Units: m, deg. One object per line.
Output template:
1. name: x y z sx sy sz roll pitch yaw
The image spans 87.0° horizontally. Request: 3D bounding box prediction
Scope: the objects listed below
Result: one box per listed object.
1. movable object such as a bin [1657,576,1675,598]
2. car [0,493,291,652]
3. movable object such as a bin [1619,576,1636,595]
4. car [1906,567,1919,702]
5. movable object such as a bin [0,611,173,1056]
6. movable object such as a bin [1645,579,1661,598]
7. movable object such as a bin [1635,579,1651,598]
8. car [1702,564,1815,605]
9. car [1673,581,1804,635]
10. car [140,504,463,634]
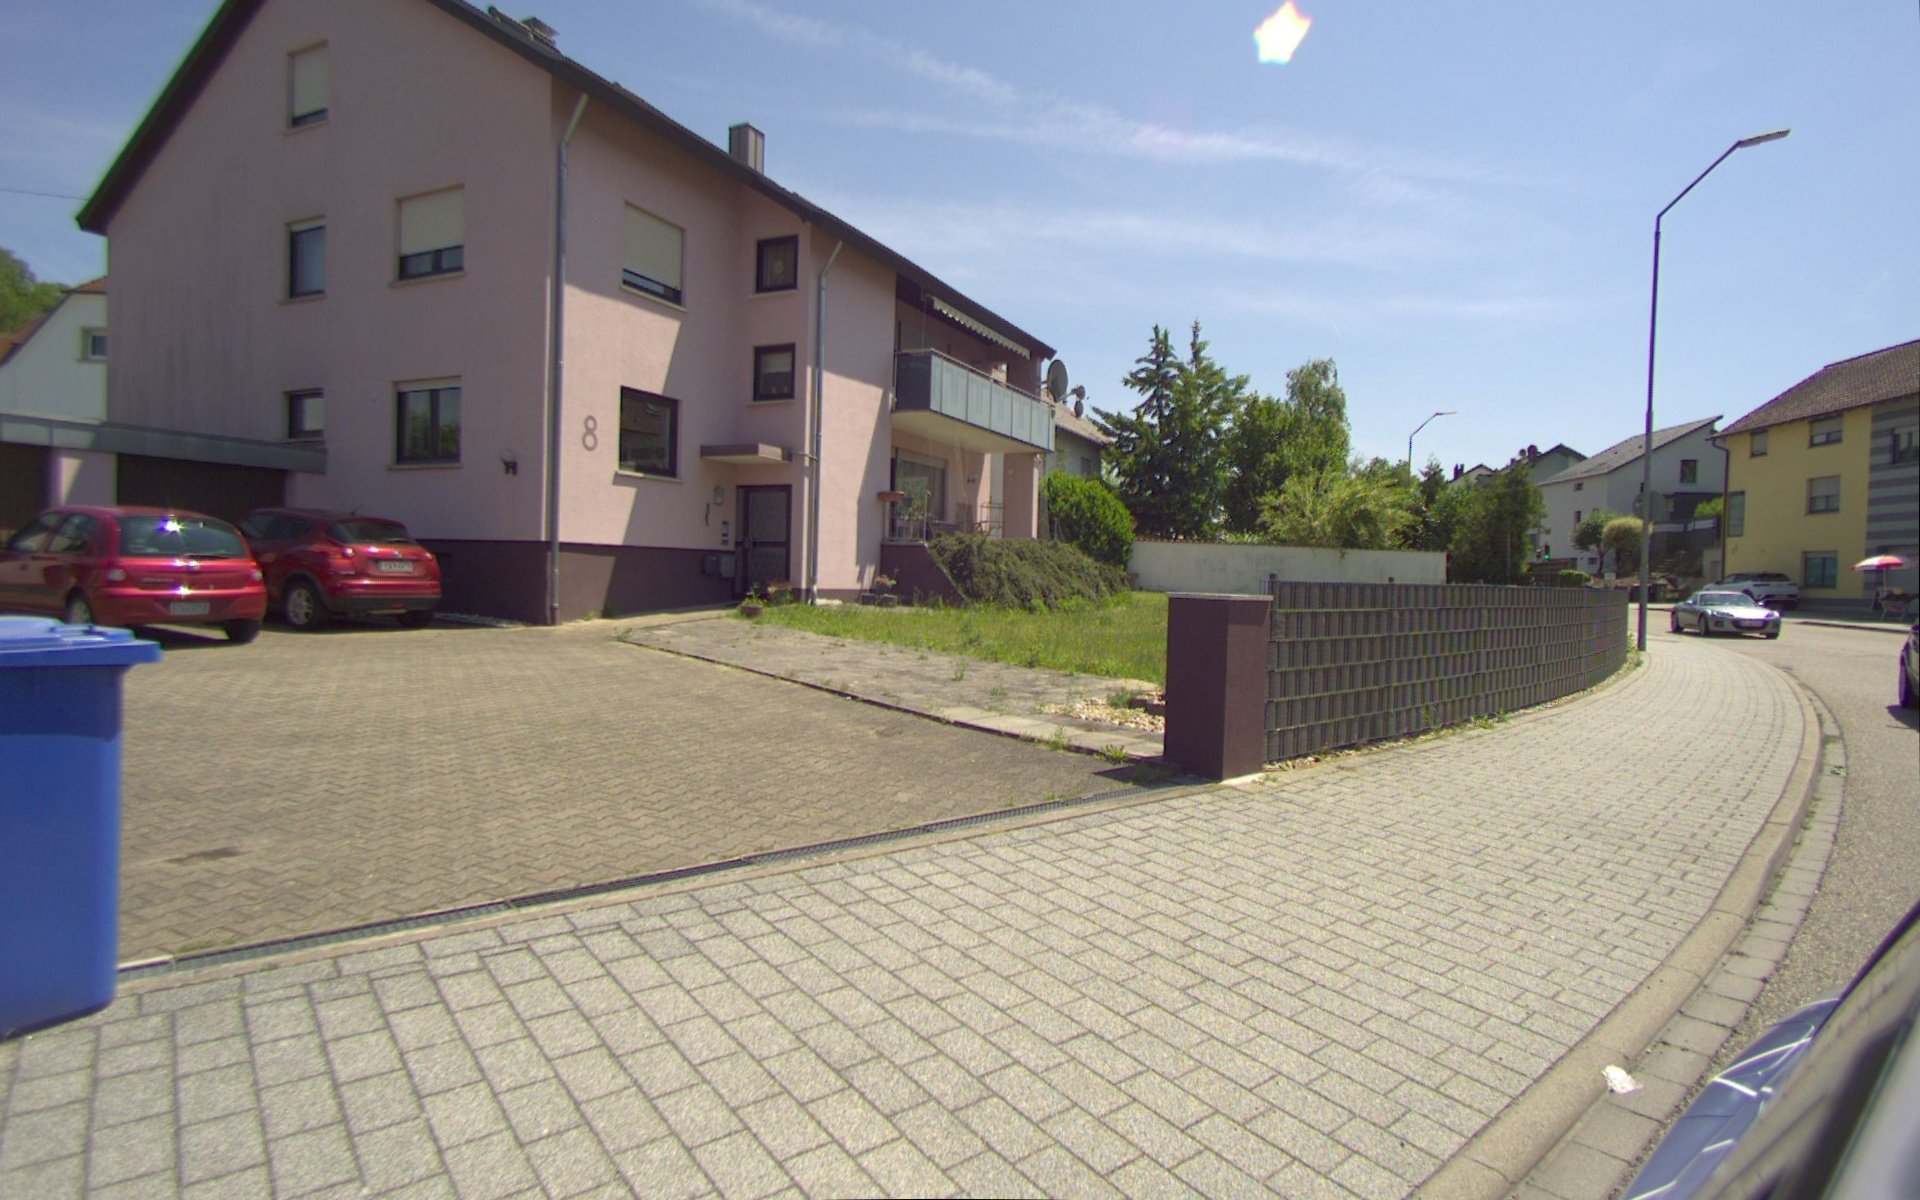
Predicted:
1. movable object such as a bin: 35.370 -0.665 50.737 0.464 1.068 0.633 0 2 6
2. car: -9.487 -0.380 11.326 3.803 1.504 1.745 4 3 28
3. movable object such as a bin: 33.648 -0.725 51.005 0.493 0.960 0.553 1 2 6
4. car: 11.812 0.457 11.082 1.757 1.612 4.140 1 2 39
5. movable object such as a bin: -2.584 0.587 2.694 0.563 1.070 0.643 2 2 35
6. movable object such as a bin: 34.840 -0.595 50.871 0.440 0.949 0.530 1 2 6
7. movable object such as a bin: 34.334 -0.586 50.900 0.440 0.940 0.561 0 2 6
8. car: 32.962 -0.677 41.917 1.706 1.571 4.182 1 2 7
9. car: 21.656 0.173 28.338 1.793 1.330 3.973 1 2 21
10. car: -9.038 -0.448 13.897 4.080 1.567 1.836 1 2 24
